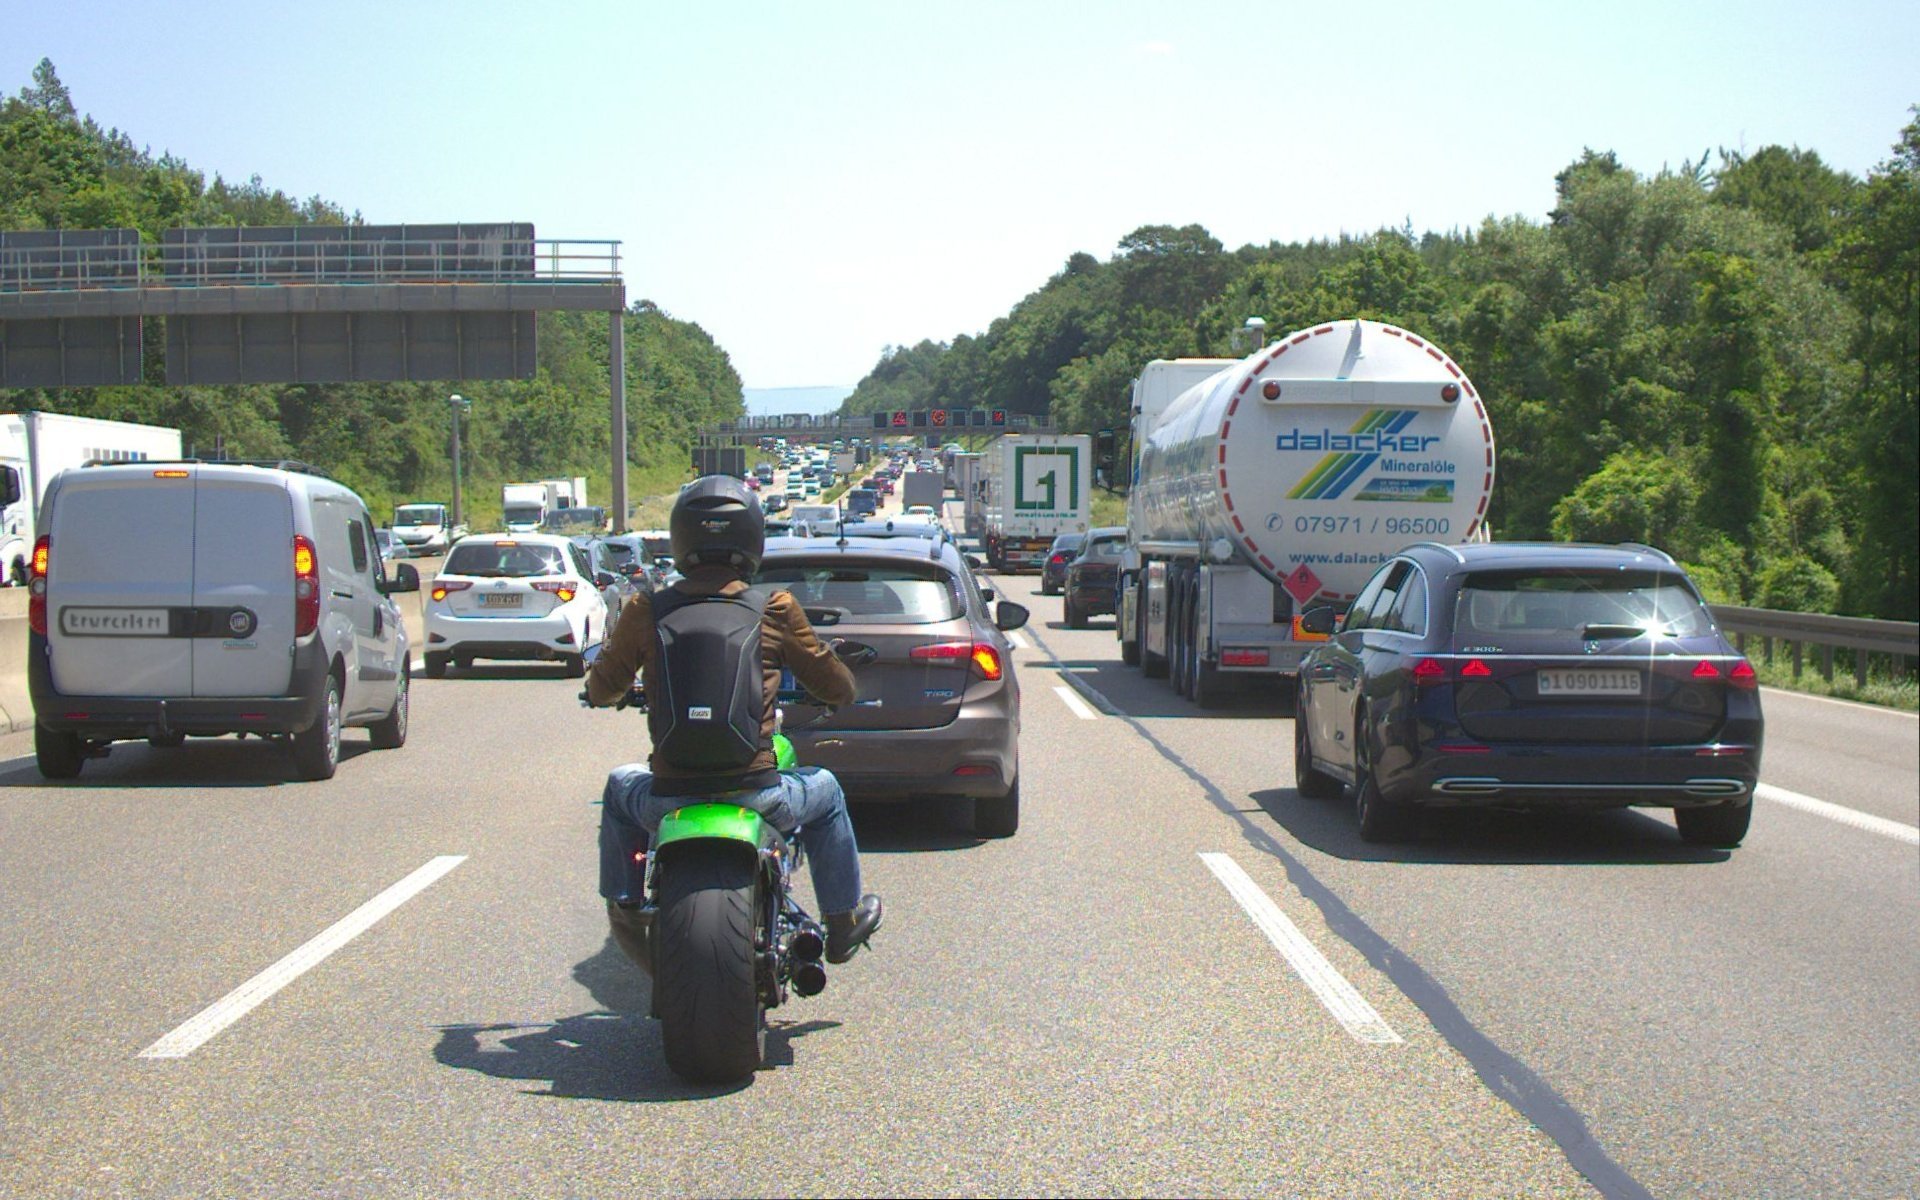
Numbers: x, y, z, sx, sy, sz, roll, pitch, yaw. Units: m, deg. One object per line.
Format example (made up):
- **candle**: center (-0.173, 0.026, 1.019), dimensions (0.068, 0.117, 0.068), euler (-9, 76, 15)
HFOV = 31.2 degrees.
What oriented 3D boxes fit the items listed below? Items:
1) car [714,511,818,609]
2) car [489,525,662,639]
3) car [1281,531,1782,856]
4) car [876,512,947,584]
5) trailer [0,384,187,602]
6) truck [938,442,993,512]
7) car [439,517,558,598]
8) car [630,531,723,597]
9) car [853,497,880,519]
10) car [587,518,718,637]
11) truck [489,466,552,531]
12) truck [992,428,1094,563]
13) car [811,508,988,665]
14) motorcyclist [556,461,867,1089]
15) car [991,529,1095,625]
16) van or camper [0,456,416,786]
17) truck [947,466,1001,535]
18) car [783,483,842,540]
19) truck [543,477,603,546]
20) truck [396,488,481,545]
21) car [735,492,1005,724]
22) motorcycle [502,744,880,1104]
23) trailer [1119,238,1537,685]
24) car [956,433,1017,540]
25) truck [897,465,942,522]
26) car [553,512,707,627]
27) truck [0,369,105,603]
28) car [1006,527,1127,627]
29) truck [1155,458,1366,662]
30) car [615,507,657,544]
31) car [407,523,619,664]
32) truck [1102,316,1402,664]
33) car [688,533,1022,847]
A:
- **car**: center (-4.123, -0.849, 73.588), dimensions (1.993, 2.007, 4.000), euler (1, 0, 0)
- **car**: center (-5.175, -0.242, 46.735), dimensions (1.993, 1.459, 4.000), euler (1, 0, -2)
- **car**: center (2.807, 0.412, 17.901), dimensions (1.792, 1.453, 4.624), euler (1, 0, 0)
- **car**: center (-1.375, -1.487, 97.931), dimensions (1.993, 2.007, 4.000), euler (0, 1, -1)
- **trailer**: center (-19.730, -2.236, 75.925), dimensions (2.949, 4.466, 10.817), euler (1, 0, -1)
- **truck**: center (0.250, -6.303, 177.993), dimensions (2.696, 3.393, 10.479), euler (0, 1, 0)
- **car**: center (-8.749, -0.835, 65.496), dimensions (1.824, 1.489, 4.001), euler (0, 1, -1)
- **car**: center (-6.402, -0.813, 77.974), dimensions (1.764, 1.437, 4.000), euler (1, 0, 0)
- **car**: center (-6.532, -6.444, 240.944), dimensions (1.770, 1.550, 4.000), euler (0, 1, 0)
- **car**: center (-5.387, -0.390, 60.658), dimensions (1.993, 2.007, 4.000), euler (1, 0, -1)
- **truck**: center (-20.700, -4.733, 162.055), dimensions (2.177, 2.875, 6.743), euler (1, 0, -1)
- **truck**: center (2.514, -3.030, 102.135), dimensions (2.854, 3.808, 7.187), euler (1, 0, 2)
- **car**: center (-0.735, -0.167, 41.209), dimensions (1.993, 1.769, 4.000), euler (1, 0, -1)
- **motorcyclist**: center (-0.683, 0.468, 9.764), dimensions (0.799, 1.682, 1.016), euler (1, 0, 0)
- **car**: center (1.774, -0.488, 74.621), dimensions (1.993, 2.007, 4.000), euler (1, 0, -2)
- **van or camper**: center (-4.681, 0.053, 22.027), dimensions (1.853, 1.874, 4.562), euler (1, 2, -3)
- **truck**: center (0.459, -3.160, 109.570), dimensions (1.591, 2.104, 3.751), euler (1, 0, 2)
- **car**: center (-5.320, -3.181, 124.618), dimensions (1.993, 2.007, 4.000), euler (0, 1, 0)
- **truck**: center (-23.255, -5.274, 206.844), dimensions (2.692, 3.976, 7.991), euler (1, 0, 0)
- **truck**: center (-19.706, -3.150, 130.194), dimensions (2.351, 2.007, 6.493), euler (1, 0, -2)
- **car**: center (-0.717, 0.048, 27.690), dimensions (1.993, 1.705, 4.000), euler (1, 0, -1)
- **motorcycle**: center (-0.726, 0.890, 10.074), dimensions (0.936, 0.790, 2.299), euler (1, 1, 0)
- **trailer**: center (3.291, -1.175, 33.788), dimensions (2.828, 3.658, 10.733), euler (1, 0, 0)
- **car**: center (0.999, -4.323, 133.445), dimensions (2.167, 3.879, 9.330), euler (1, 0, 0)
- **truck**: center (-2.514, -6.628, 214.492), dimensions (2.696, 3.393, 10.479), euler (0, 1, 0)
- **car**: center (-5.061, -0.468, 53.229), dimensions (1.993, 1.678, 4.330), euler (1, 0, 0)
- **truck**: center (-19.655, -2.210, 69.367), dimensions (2.949, 4.466, 7.518), euler (1, 0, 0)
- **car**: center (1.675, -0.366, 55.347), dimensions (1.776, 1.522, 4.000), euler (1, 0, 0)
- **truck**: center (4.623, -0.676, 54.349), dimensions (2.388, 2.969, 8.253), euler (0, 1, -1)
- **car**: center (-16.773, -3.873, 178.218), dimensions (1.784, 1.831, 4.294), euler (1, 0, -1)
- **car**: center (-4.734, -0.077, 36.904), dimensions (1.776, 1.406, 4.000), euler (1, 0, 0)
- **truck**: center (3.234, -1.186, 39.719), dimensions (2.828, 3.658, 6.430), euler (1, 0, 0)
- **car**: center (-0.507, 0.380, 18.031), dimensions (1.541, 1.445, 4.000), euler (1, 1, 0)
